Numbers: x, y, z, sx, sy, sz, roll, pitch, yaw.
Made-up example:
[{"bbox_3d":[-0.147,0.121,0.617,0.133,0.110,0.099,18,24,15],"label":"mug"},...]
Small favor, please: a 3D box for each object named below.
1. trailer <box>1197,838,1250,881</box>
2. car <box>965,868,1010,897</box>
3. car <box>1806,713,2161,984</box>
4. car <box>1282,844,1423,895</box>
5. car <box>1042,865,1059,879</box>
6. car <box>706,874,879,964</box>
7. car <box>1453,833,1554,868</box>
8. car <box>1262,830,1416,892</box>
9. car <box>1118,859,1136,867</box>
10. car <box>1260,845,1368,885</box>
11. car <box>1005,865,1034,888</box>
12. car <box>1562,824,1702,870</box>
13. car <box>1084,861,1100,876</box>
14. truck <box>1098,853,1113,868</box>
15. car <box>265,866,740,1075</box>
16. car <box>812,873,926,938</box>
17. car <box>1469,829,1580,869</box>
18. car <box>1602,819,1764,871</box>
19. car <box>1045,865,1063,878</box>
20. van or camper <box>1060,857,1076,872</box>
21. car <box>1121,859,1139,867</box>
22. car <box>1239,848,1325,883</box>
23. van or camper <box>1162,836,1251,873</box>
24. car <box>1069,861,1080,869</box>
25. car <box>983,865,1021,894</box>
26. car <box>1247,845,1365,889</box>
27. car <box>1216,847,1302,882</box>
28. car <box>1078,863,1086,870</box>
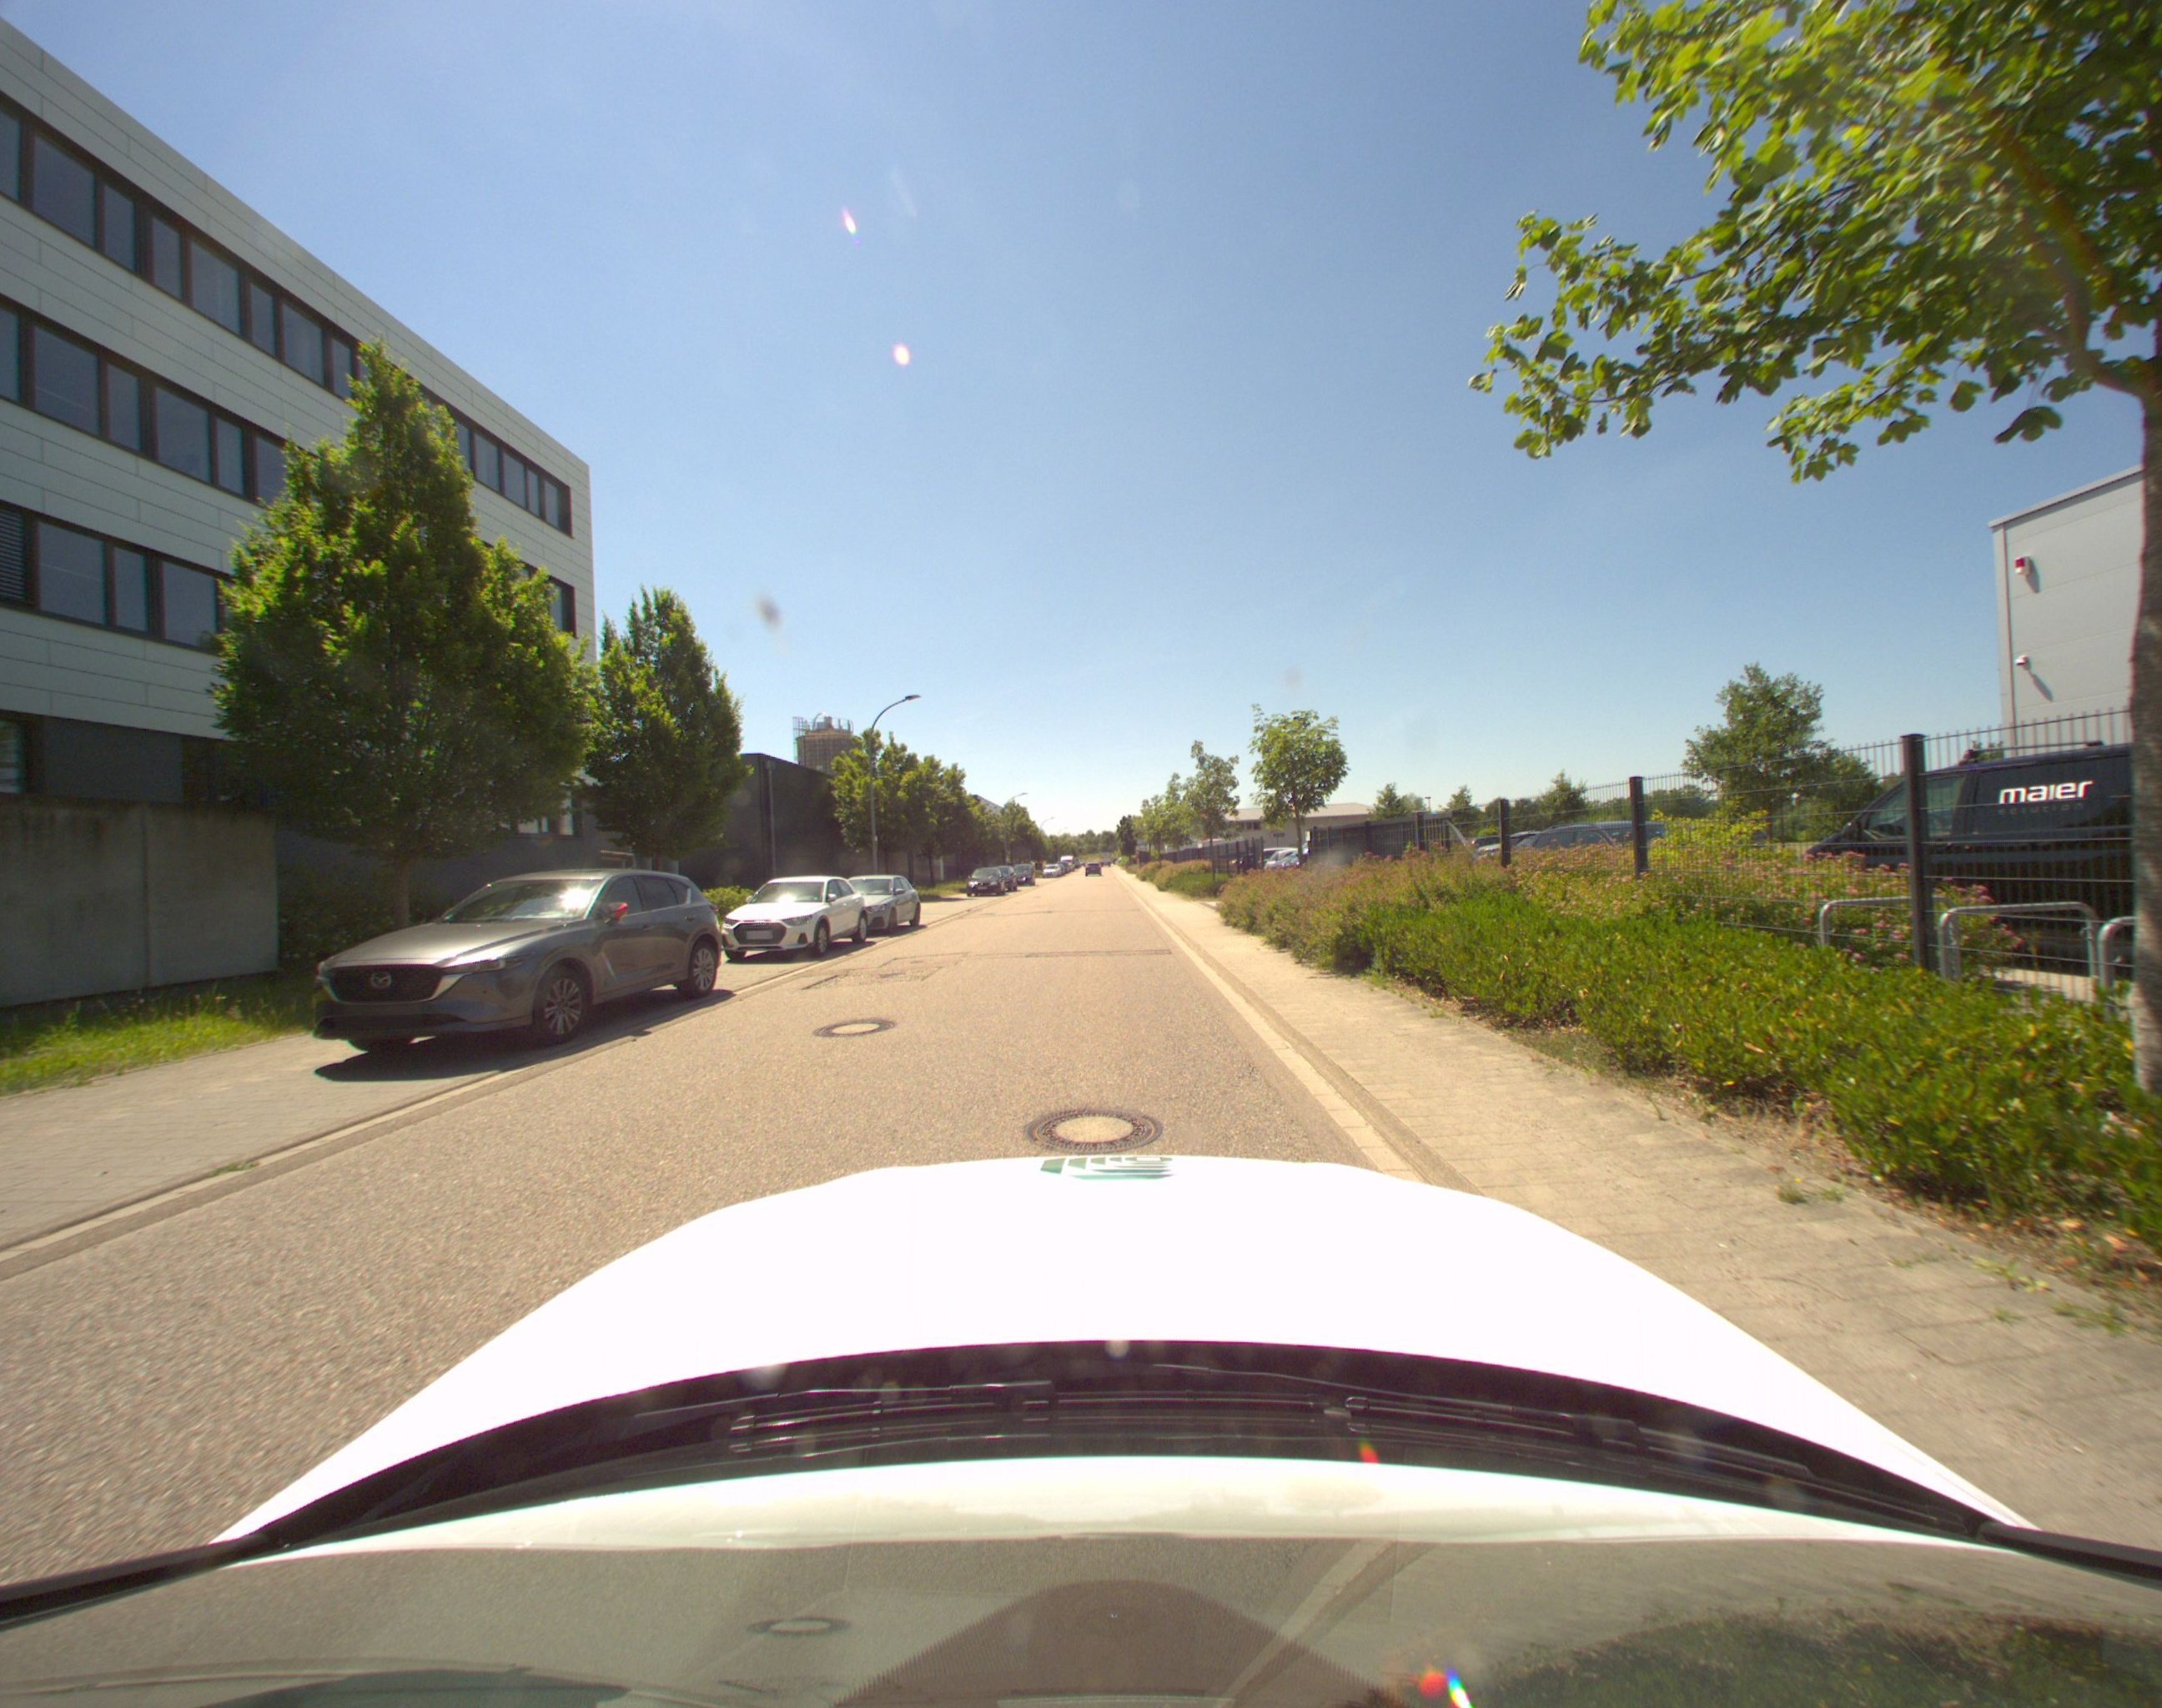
[{"bbox_3d":[8.754,0.328,50.100,2.816,2.403,1.418,-4,-1,-3],"label":"trailer"},{"bbox_3d":[-4.929,1.473,43.568,1.764,1.431,4.202,-2,-1,1],"label":"car"},{"bbox_3d":[9.268,-0.094,7.206,1.870,2.087,4.227,-4,-1,1],"label":"car"},{"bbox_3d":[9.213,0.520,27.889,4.201,1.422,1.764,-4,-1,0],"label":"car"},{"bbox_3d":[-3.496,2.023,93.574,1.715,1.476,3.855,-2,-1,-1],"label":"car"},{"bbox_3d":[-5.456,1.168,16.013,1.764,1.431,4.202,-2,-1,1],"label":"car"},{"bbox_3d":[20.783,-0.147,40.160,4.028,1.448,1.776,-4,-1,0],"label":"car"},{"bbox_3d":[9.599,0.263,30.555,5.096,1.874,1.903,-4,-1,0],"label":"car"},{"bbox_3d":[10.363,2.077,183.688,3.864,1.750,1.751,-1,-1,-1],"label":"car"},{"bbox_3d":[10.303,0.487,36.248,4.265,1.445,1.755,-4,-1,0],"label":"car"},{"bbox_3d":[-4.601,1.682,61.691,1.765,1.611,4.247,-2,-1,0],"label":"car"},{"bbox_3d":[20.107,-0.228,29.837,3.856,1.403,1.768,-4,-1,3],"label":"car"},{"bbox_3d":[1.319,1.674,92.893,1.783,1.623,3.810,-1,-1,1],"label":"car"},{"bbox_3d":[4.954,1.267,166.139,2.922,2.974,6.421,-1,-1,2],"label":"truck"},{"bbox_3d":[-5.628,0.969,8.852,1.764,1.624,4.583,-2,-1,1],"label":"car"},{"bbox_3d":[-5.272,1.233,20.796,1.764,1.431,3.941,-2,-1,1],"label":"car"},{"bbox_3d":[20.571,-0.230,37.890,4.028,1.552,1.918,-4,-1,0],"label":"car"},{"bbox_3d":[19.982,-0.277,27.150,3.973,1.403,1.819,-4,-1,0],"label":"car"},{"bbox_3d":[-3.284,2.094,98.833,1.792,1.476,4.556,-2,-1,2],"label":"car"},{"bbox_3d":[-2.089,1.733,135.025,2.069,2.483,6.136,-1,-1,4],"label":"van or camper"},{"bbox_3d":[10.920,2.034,180.981,3.864,1.750,1.751,-1,-1,-1],"label":"car"},{"bbox_3d":[9.550,0.560,38.846,3.652,1.422,1.644,-3,-1,0],"label":"car"},{"bbox_3d":[10.165,0.022,66.394,6.734,2.585,2.636,-3,-1,0],"label":"van or camper"},{"bbox_3d":[-1.326,2.207,162.619,1.791,1.487,4.256,-2,0,3],"label":"car"},{"bbox_3d":[-4.811,1.512,50.099,1.765,1.611,4.852,-2,-1,0],"label":"car"},{"bbox_3d":[9.191,0.538,33.457,4.330,1.449,1.602,-4,-1,0],"label":"car"},{"bbox_3d":[9.025,0.524,41.513,3.973,1.522,1.823,-3,-1,0],"label":"car"},{"bbox_3d":[0.363,3.253,212.368,1.791,1.487,4.256,-2,0,3],"label":"car"}]
